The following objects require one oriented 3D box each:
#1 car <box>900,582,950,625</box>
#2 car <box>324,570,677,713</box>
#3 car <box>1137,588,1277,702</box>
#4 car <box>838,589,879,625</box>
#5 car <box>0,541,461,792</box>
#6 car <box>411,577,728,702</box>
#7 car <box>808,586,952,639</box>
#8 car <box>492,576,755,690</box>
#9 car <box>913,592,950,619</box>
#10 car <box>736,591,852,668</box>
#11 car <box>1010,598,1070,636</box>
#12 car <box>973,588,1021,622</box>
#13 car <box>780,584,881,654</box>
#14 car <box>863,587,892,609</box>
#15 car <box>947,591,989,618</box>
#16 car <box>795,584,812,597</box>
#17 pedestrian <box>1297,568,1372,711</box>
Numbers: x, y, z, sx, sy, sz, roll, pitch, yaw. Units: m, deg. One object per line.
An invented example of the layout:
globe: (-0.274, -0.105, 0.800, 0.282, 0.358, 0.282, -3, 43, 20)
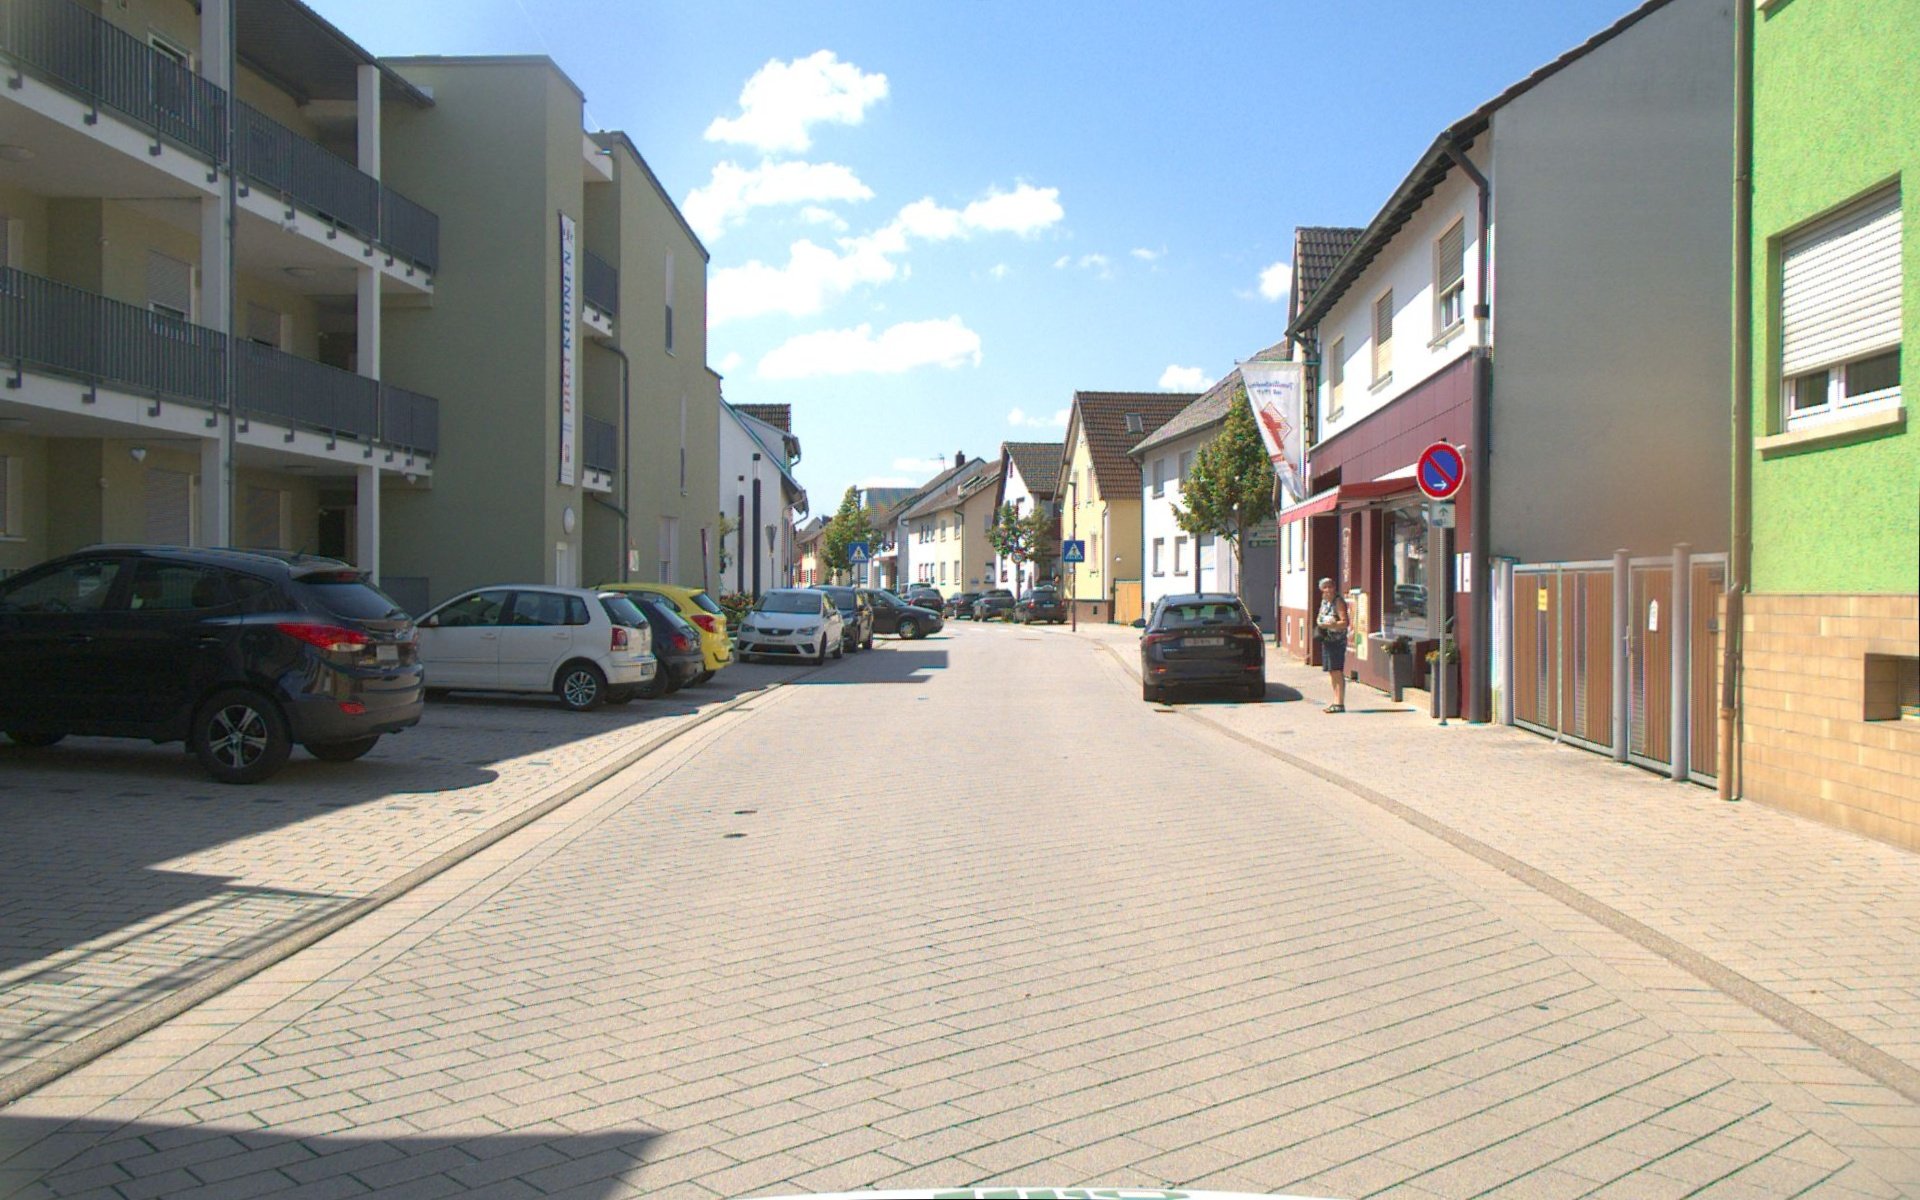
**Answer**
car: (-1.794, 0.160, 82.581, 1.957, 2.094, 4.365, 0, 0, -9)
car: (-5.677, 0.481, 20.687, 3.819, 1.528, 1.752, 3, 1, 5)
car: (3.566, 0.595, 24.558, 1.819, 1.484, 4.589, -2, 0, 6)
car: (-4.715, 0.295, 76.565, 1.713, 1.557, 3.996, 1, 0, -5)
car: (-6.245, 0.438, 12.814, 4.131, 1.687, 1.785, 2, 0, 3)
car: (-5.370, 0.515, 23.028, 3.904, 1.466, 1.692, 3, 0, 3)
car: (-2.315, 0.359, 48.661, 4.020, 1.463, 1.766, -1, 0, 4)
car: (-5.164, 0.482, 25.660, 3.614, 1.552, 1.673, 2, 1, 4)
car: (-1.784, 0.337, 102.263, 1.842, 1.619, 3.993, 0, 0, -8)
car: (-3.347, 0.563, 34.061, 1.721, 1.435, 3.880, 2, 1, 4)
car: (3.426, 0.707, 71.494, 1.795, 1.497, 4.268, -2, 0, -8)
car: (1.787, 0.234, 80.904, 1.812, 1.590, 3.686, 0, 0, -8)
car: (-3.035, 0.416, 39.473, 1.775, 1.516, 4.279, 2, 1, 4)
car: (-5.832, -0.180, 116.868, 1.721, 1.519, 3.993, 0, 0, -8)
car: (0.406, 0.231, 88.405, 1.679, 1.411, 3.699, 0, 0, -8)
car: (-17.258, -1.038, 181.963, 1.656, 1.478, 3.785, 0, 0, -8)
pedestrian: (4.559, 0.473, 20.176, 0.714, 1.668, 0.749, -3, -1, 5)
